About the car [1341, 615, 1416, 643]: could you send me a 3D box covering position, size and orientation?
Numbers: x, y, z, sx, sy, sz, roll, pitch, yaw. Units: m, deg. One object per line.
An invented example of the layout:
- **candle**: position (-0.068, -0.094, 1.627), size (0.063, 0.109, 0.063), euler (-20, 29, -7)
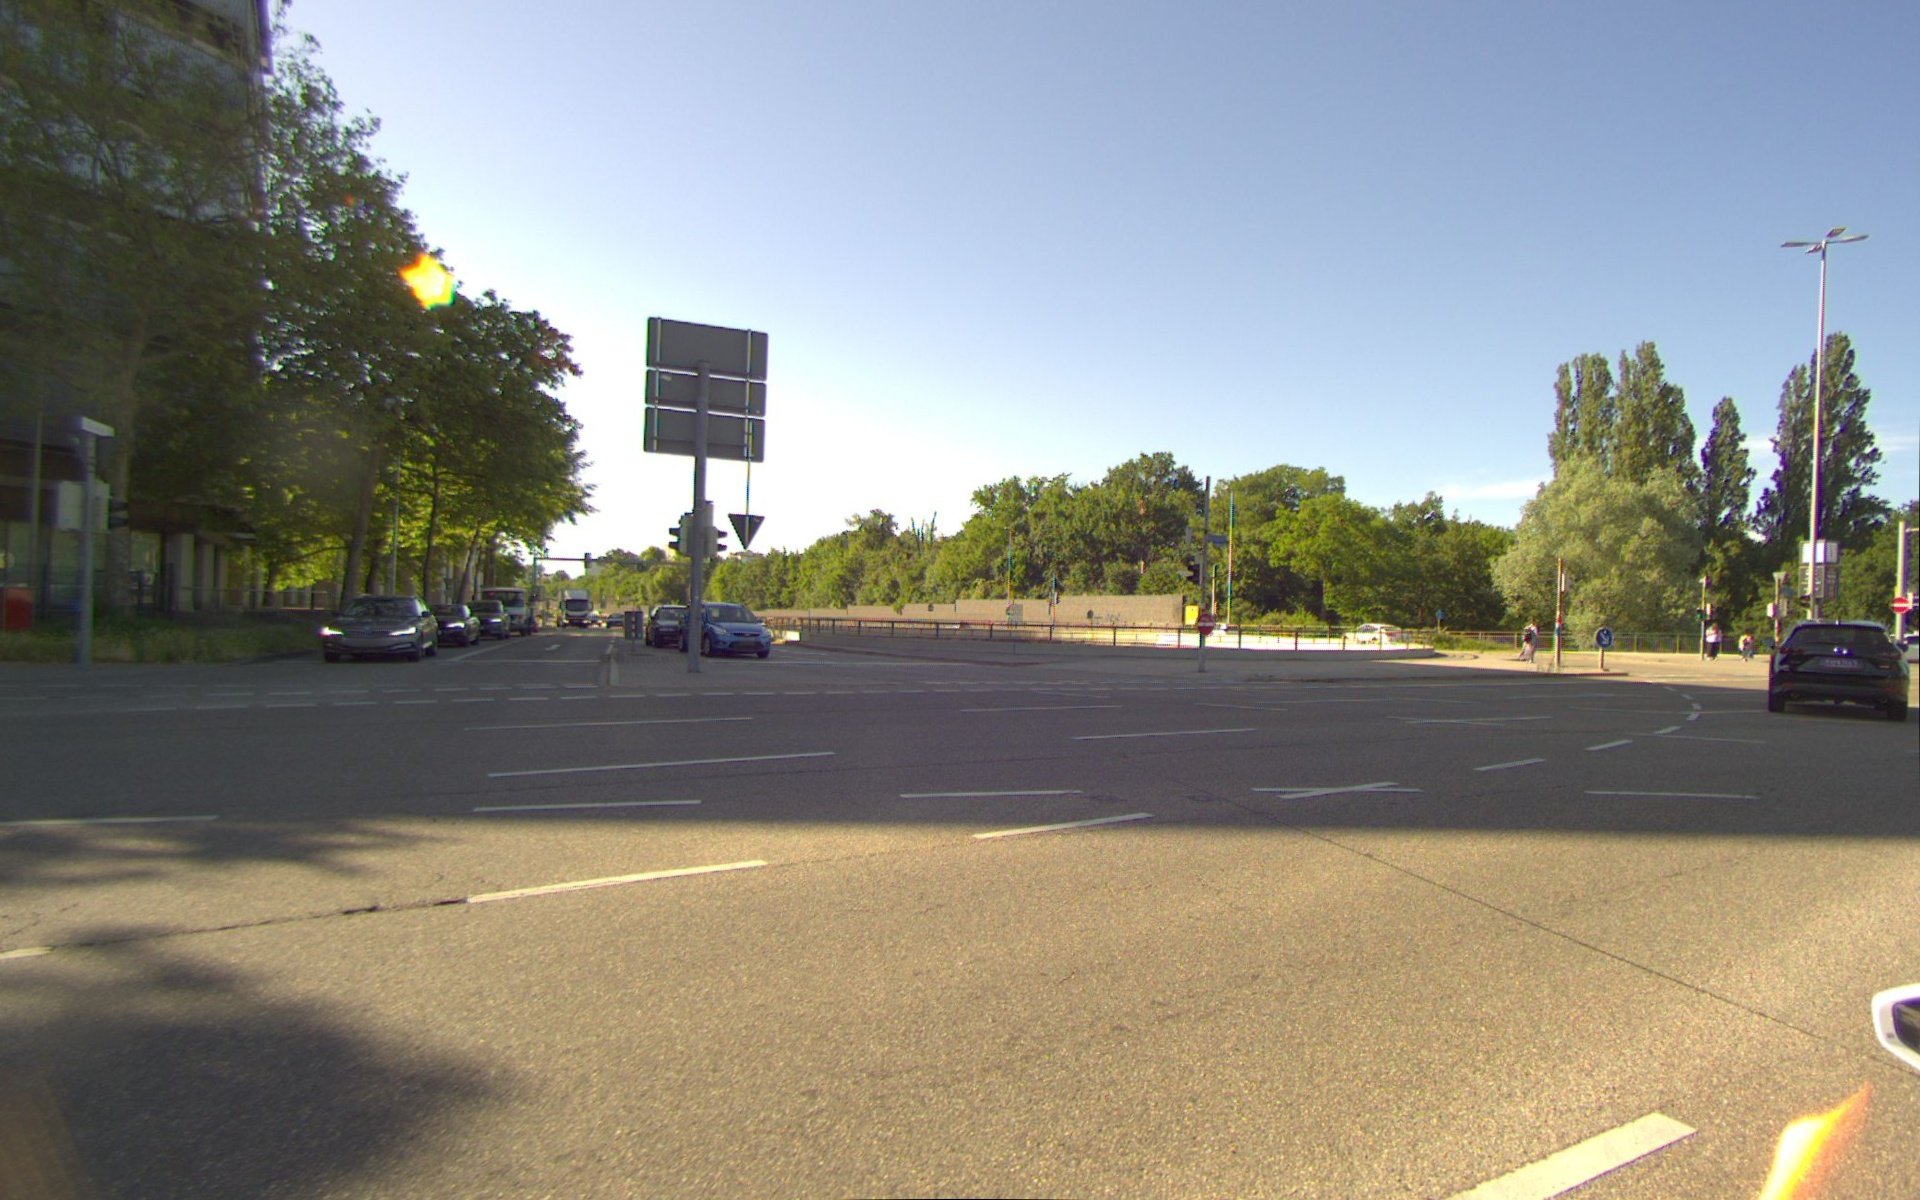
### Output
- **car**: position (23.345, 1.594, 56.250), size (1.755, 1.434, 4.309), euler (2, 0, -11)

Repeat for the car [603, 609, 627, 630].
- **car**: position (-32.310, 1.774, 93.953), size (1.717, 1.706, 4.027), euler (4, 0, -24)

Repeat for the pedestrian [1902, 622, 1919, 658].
- **pedestrian**: position (55.435, 2.343, 58.261), size (0.776, 2.023, 0.805), euler (4, 0, -20)

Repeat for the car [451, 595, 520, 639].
- **car**: position (-19.555, 0.666, 41.596), size (1.850, 1.666, 4.493), euler (2, 0, -16)

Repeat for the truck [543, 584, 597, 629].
- **truck**: position (-36.612, 0.508, 94.066), size (3.803, 3.847, 9.279), euler (2, 1, -26)

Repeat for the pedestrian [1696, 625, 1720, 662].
- **pedestrian**: position (33.088, 1.920, 44.437), size (0.699, 1.568, 0.727), euler (1, -1, 29)

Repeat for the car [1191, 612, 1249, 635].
- **car**: position (18.450, 1.641, 71.437), size (1.972, 1.528, 3.977), euler (2, 0, -23)

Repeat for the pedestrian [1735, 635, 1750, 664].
- **pedestrian**: position (42.208, 2.667, 54.199), size (0.548, 1.568, 0.575), euler (1, -2, 29)

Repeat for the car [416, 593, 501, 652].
- **car**: position (-15.949, 0.667, 32.165), size (1.786, 1.722, 4.179), euler (2, 0, -18)

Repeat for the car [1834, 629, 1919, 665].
- **car**: position (45.254, 2.275, 48.593), size (4.242, 1.556, 1.785), euler (2, 1, 4)

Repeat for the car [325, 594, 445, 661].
- **car**: position (-13.064, 0.622, 23.078), size (1.853, 1.376, 4.484), euler (0, -1, -23)

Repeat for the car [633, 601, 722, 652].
- **car**: position (-9.674, 0.857, 34.152), size (1.928, 1.561, 4.424), euler (2, 0, -29)

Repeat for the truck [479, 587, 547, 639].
- **truck**: position (-22.757, 0.623, 51.429), size (2.129, 2.391, 7.489), euler (2, 0, -16)

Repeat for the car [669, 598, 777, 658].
- **car**: position (-6.942, 0.768, 29.092), size (1.928, 1.561, 4.424), euler (2, 0, -29)

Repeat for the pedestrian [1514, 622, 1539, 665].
- **pedestrian**: position (20.364, 1.559, 36.101), size (0.671, 1.482, 0.700), euler (1, 0, 39)

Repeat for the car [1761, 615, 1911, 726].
- **car**: position (15.902, 1.196, 18.327), size (1.852, 1.731, 4.176), euler (1, -1, 40)
